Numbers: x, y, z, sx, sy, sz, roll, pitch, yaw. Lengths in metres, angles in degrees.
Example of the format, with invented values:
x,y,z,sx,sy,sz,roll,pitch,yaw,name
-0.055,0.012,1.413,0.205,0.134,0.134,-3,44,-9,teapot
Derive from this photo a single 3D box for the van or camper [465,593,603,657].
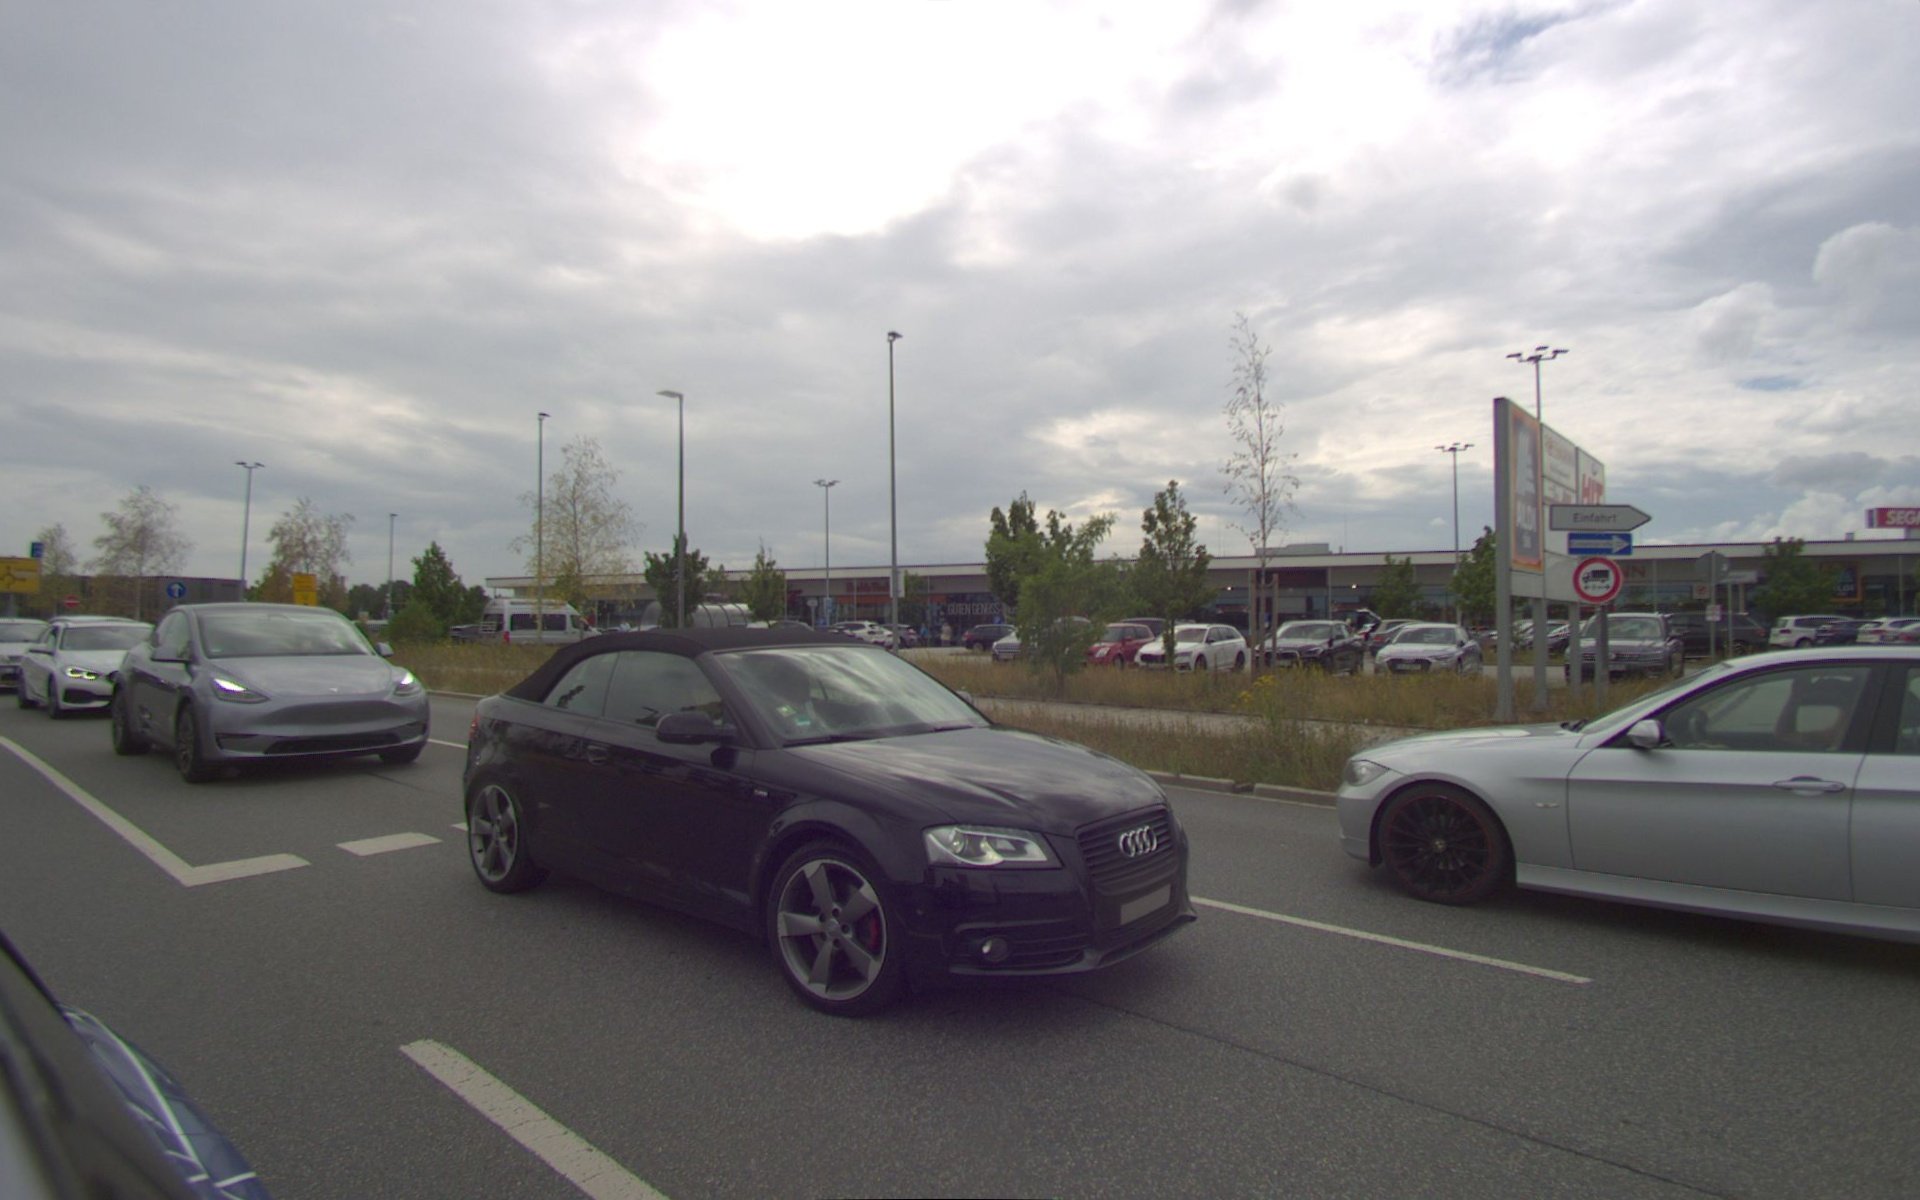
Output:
x,y,z,sx,sy,sz,roll,pitch,yaw,name
-19.928,1.212,47.638,2.235,2.821,5.810,-1,-2,30,van or camper

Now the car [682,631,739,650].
x,y,z,sx,sy,sz,roll,pitch,yaw,name
-19.297,3.142,78.197,3.978,1.453,1.983,-1,-2,26,car

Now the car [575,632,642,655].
x,y,z,sx,sy,sz,roll,pitch,yaw,name
-23.095,2.851,66.564,3.874,1.453,1.878,-1,-2,20,car

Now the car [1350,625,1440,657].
x,y,z,sx,sy,sz,roll,pitch,yaw,name
21.796,2.055,50.859,3.968,1.557,1.987,-1,-2,19,car

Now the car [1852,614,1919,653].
x,y,z,sx,sy,sz,roll,pitch,yaw,name
40.166,1.389,41.961,4.257,1.619,1.988,-1,-2,18,car

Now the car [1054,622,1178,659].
x,y,z,sx,sy,sz,roll,pitch,yaw,name
6.853,1.756,44.526,5.075,1.530,1.983,-1,-2,25,car

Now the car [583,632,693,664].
x,y,z,sx,sy,sz,roll,pitch,yaw,name
-14.039,2.082,44.317,2.006,1.314,4.288,-2,-2,34,car

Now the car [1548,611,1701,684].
x,y,z,sx,sy,sz,roll,pitch,yaw,name
14.373,0.989,21.791,2.164,1.402,4.312,-2,-3,41,car

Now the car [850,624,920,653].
x,y,z,sx,sy,sz,roll,pitch,yaw,name
-4.646,2.392,63.078,3.968,1.785,1.874,-1,-2,19,car

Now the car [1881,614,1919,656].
x,y,z,sx,sy,sz,roll,pitch,yaw,name
38.706,1.342,39.157,3.966,1.619,1.988,-1,-2,18,car

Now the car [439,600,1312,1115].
x,y,z,sx,sy,sz,roll,pitch,yaw,name
-0.698,0.762,4.912,4.228,1.449,1.751,-1,-2,40,car

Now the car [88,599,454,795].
x,y,z,sx,sy,sz,roll,pitch,yaw,name
-7.217,0.860,10.410,4.609,1.573,1.973,-2,-3,41,car

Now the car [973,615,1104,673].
x,y,z,sx,sy,sz,roll,pitch,yaw,name
2.497,1.346,31.417,2.077,1.667,4.260,-2,-3,37,car

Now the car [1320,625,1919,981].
x,y,z,sx,sy,sz,roll,pitch,yaw,name
4.307,0.852,4.903,4.495,1.428,1.818,-1,-3,39,car

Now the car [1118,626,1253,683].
x,y,z,sx,sy,sz,roll,pitch,yaw,name
6.333,1.472,28.156,2.008,1.468,4.277,-2,-3,38,car

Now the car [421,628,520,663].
x,y,z,sx,sy,sz,roll,pitch,yaw,name
-24.074,2.200,49.854,2.078,1.646,3.913,-2,-2,32,car

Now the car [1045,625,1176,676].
x,y,z,sx,sy,sz,roll,pitch,yaw,name
4.488,1.458,29.818,1.999,1.402,4.042,-2,-3,41,car

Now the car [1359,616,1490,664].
x,y,z,sx,sy,sz,roll,pitch,yaw,name
16.302,1.410,35.739,3.969,1.619,1.987,-1,-2,19,car

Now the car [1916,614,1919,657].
x,y,z,sx,sy,sz,roll,pitch,yaw,name
37.753,1.279,36.689,3.966,1.619,1.988,-1,-2,18,car

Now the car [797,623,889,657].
x,y,z,sx,sy,sz,roll,pitch,yaw,name
-6.719,2.287,58.157,4.894,1.914,2.142,-1,-2,23,car

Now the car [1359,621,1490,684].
x,y,z,sx,sy,sz,roll,pitch,yaw,name
11.160,1.212,24.154,2.023,1.350,4.274,-2,-2,36,car

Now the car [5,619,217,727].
x,y,z,sx,sy,sz,roll,pitch,yaw,name
-13.517,1.056,16.037,4.190,1.480,1.861,-1,-2,40,car

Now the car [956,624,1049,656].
x,y,z,sx,sy,sz,roll,pitch,yaw,name
2.079,1.918,48.984,4.160,1.530,1.989,-1,-2,17,car

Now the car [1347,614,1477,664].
x,y,z,sx,sy,sz,roll,pitch,yaw,name
18.087,1.559,40.703,4.402,1.936,1.831,-1,-2,13,car

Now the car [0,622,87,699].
x,y,z,sx,sy,sz,roll,pitch,yaw,name
-19.467,1.194,20.654,4.025,1.449,1.686,-2,-3,37,car

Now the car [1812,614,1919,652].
x,y,z,sx,sy,sz,roll,pitch,yaw,name
40.415,1.462,44.500,3.966,1.619,1.988,-1,-2,18,car

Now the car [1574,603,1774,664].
x,y,z,sx,sy,sz,roll,pitch,yaw,name
21.688,1.016,30.980,4.548,1.760,1.987,0,-2,19,car

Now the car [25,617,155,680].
x,y,z,sx,sy,sz,roll,pitch,yaw,name
-24.693,1.363,28.662,4.698,1.649,1.973,-1,-4,40,car

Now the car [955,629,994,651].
x,y,z,sx,sy,sz,roll,pitch,yaw,name
1.058,2.824,71.522,1.985,1.493,4.034,-1,-2,13,car

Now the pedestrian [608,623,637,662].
x,y,z,sx,sy,sz,roll,pitch,yaw,name
-16.837,2.128,50.519,1.098,1.904,1.011,0,-2,-2,pedestrian

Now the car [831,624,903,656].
x,y,z,sx,sy,sz,roll,pitch,yaw,name
-5.542,2.354,60.360,3.972,1.785,1.766,0,-1,22,car

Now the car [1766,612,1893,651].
x,y,z,sx,sy,sz,roll,pitch,yaw,name
40.596,1.493,47.392,3.966,1.746,1.988,-1,-2,18,car

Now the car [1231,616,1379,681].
x,y,z,sx,sy,sz,roll,pitch,yaw,name
8.985,1.211,26.151,2.238,1.517,4.321,-2,-3,40,car

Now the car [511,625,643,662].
x,y,z,sx,sy,sz,roll,pitch,yaw,name
-13.874,1.565,36.783,2.010,1.269,4.039,-2,-3,40,car
